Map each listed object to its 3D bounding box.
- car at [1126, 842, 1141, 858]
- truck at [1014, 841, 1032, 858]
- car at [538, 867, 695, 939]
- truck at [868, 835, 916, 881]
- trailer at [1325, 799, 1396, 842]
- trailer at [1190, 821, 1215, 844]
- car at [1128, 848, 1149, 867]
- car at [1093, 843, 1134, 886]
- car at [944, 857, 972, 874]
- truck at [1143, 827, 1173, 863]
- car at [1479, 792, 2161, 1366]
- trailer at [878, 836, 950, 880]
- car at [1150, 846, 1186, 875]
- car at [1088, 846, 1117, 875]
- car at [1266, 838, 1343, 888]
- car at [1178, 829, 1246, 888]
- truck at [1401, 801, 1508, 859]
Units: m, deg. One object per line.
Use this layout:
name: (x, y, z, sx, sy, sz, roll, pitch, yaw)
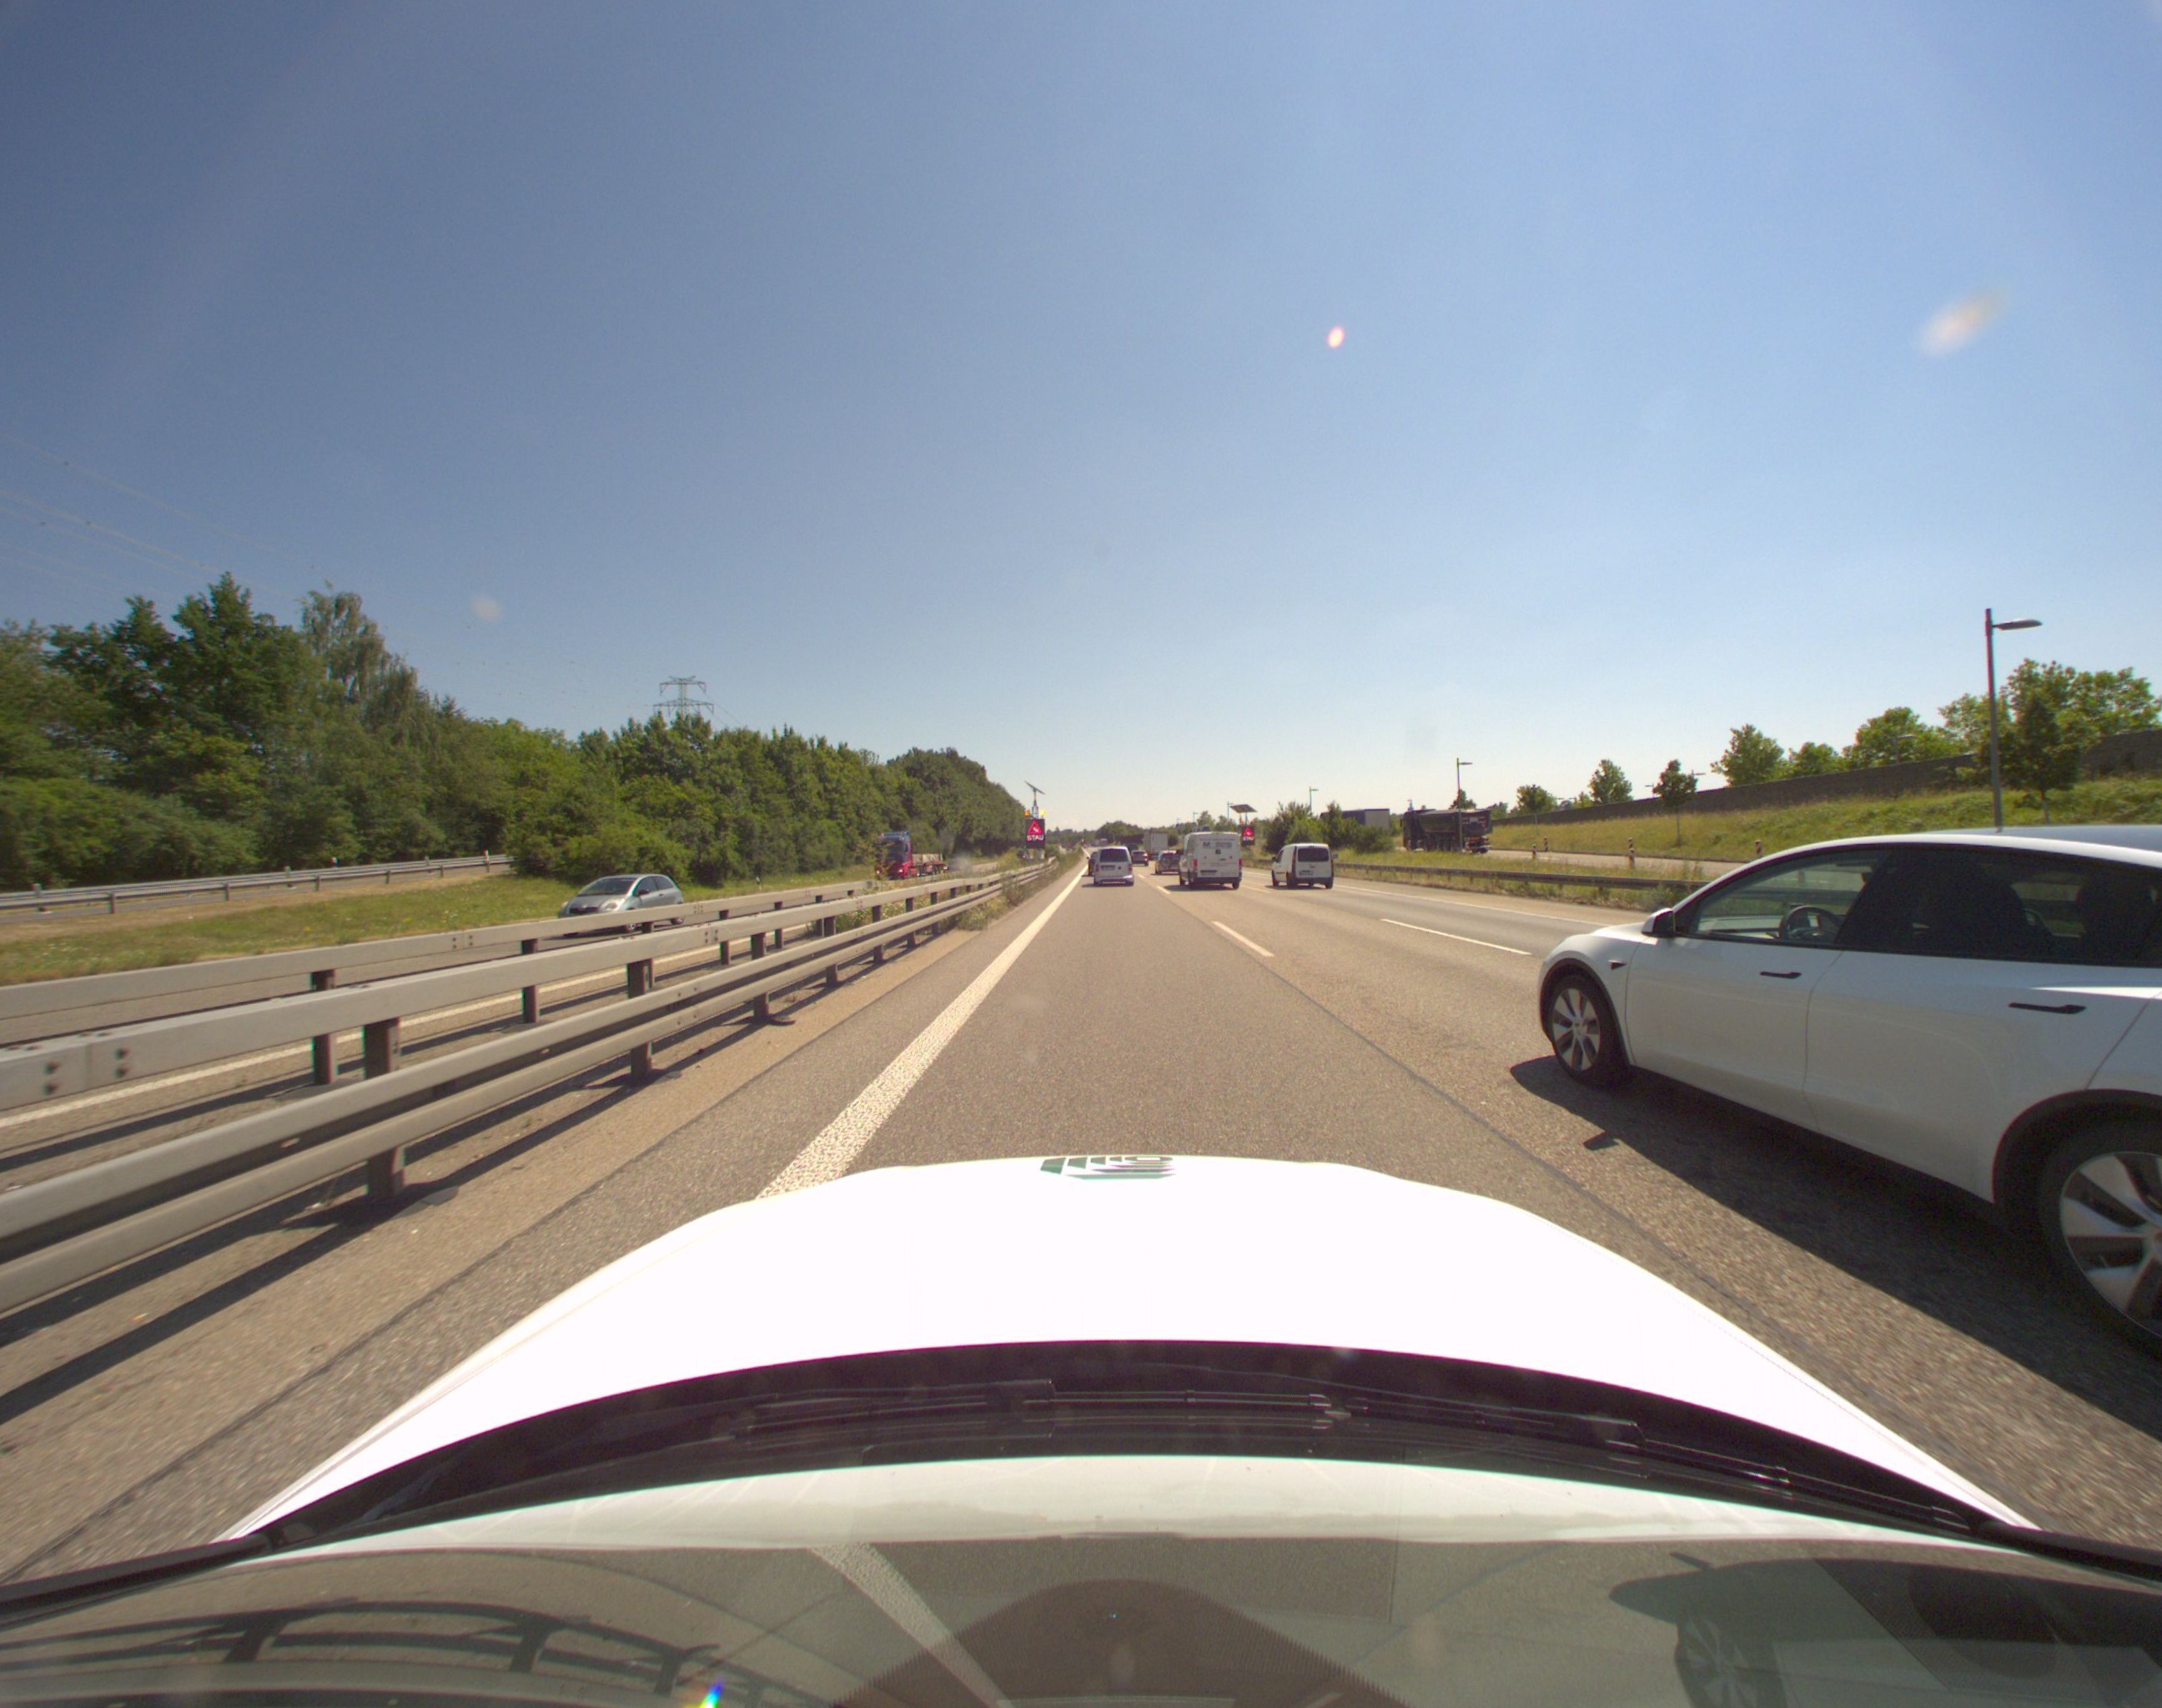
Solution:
car: (6.271, -0.475, 98.190, 1.668, 1.891, 4.091, -2, 0, 2)
truck: (-13.450, -1.055, 189.478, 2.985, 3.802, 10.791, -2, 0, 1)
car: (-12.170, 1.216, 21.673, 1.775, 1.530, 3.884, -5, 0, 1)
truck: (-15.353, 0.309, 66.230, 2.986, 3.558, 3.118, -2, 0, 1)
trailer: (29.993, -3.431, 88.354, 3.042, 4.083, 14.259, 0, 0, 1)
trailer: (24.897, -4.297, 167.234, 2.596, 4.257, 18.423, 0, 0, 1)
car: (5.664, 0.331, 80.331, 1.894, 1.672, 4.091, -2, 0, 2)
car: (1.501, 0.452, 37.433, 1.738, 1.764, 4.091, -2, 0, 2)
car: (-10.834, 1.017, 71.963, 1.765, 1.334, 4.917, -3, 0, -2)
truck: (11.201, -1.223, 119.558, 3.773, 4.999, 12.526, 0, 0, 2)
car: (4.068, 0.615, 3.616, 1.943, 1.636, 5.602, -2, 0, 1)
trailer: (-15.158, 0.277, 75.782, 2.985, 3.558, 16.027, -2, 0, 1)
car: (5.542, 0.419, 52.484, 1.968, 1.733, 4.091, -2, 0, 2)
car: (1.401, 0.393, 51.671, 1.738, 1.701, 4.091, -2, 0, 3)
car: (9.074, 0.336, 33.403, 1.944, 1.837, 4.178, -2, 0, 0)
car: (5.398, 0.175, 34.172, 2.173, 2.254, 5.366, -1, 0, 2)
truck: (28.892, -1.735, 63.958, 3.769, 4.083, 12.539, 0, 0, 6)
